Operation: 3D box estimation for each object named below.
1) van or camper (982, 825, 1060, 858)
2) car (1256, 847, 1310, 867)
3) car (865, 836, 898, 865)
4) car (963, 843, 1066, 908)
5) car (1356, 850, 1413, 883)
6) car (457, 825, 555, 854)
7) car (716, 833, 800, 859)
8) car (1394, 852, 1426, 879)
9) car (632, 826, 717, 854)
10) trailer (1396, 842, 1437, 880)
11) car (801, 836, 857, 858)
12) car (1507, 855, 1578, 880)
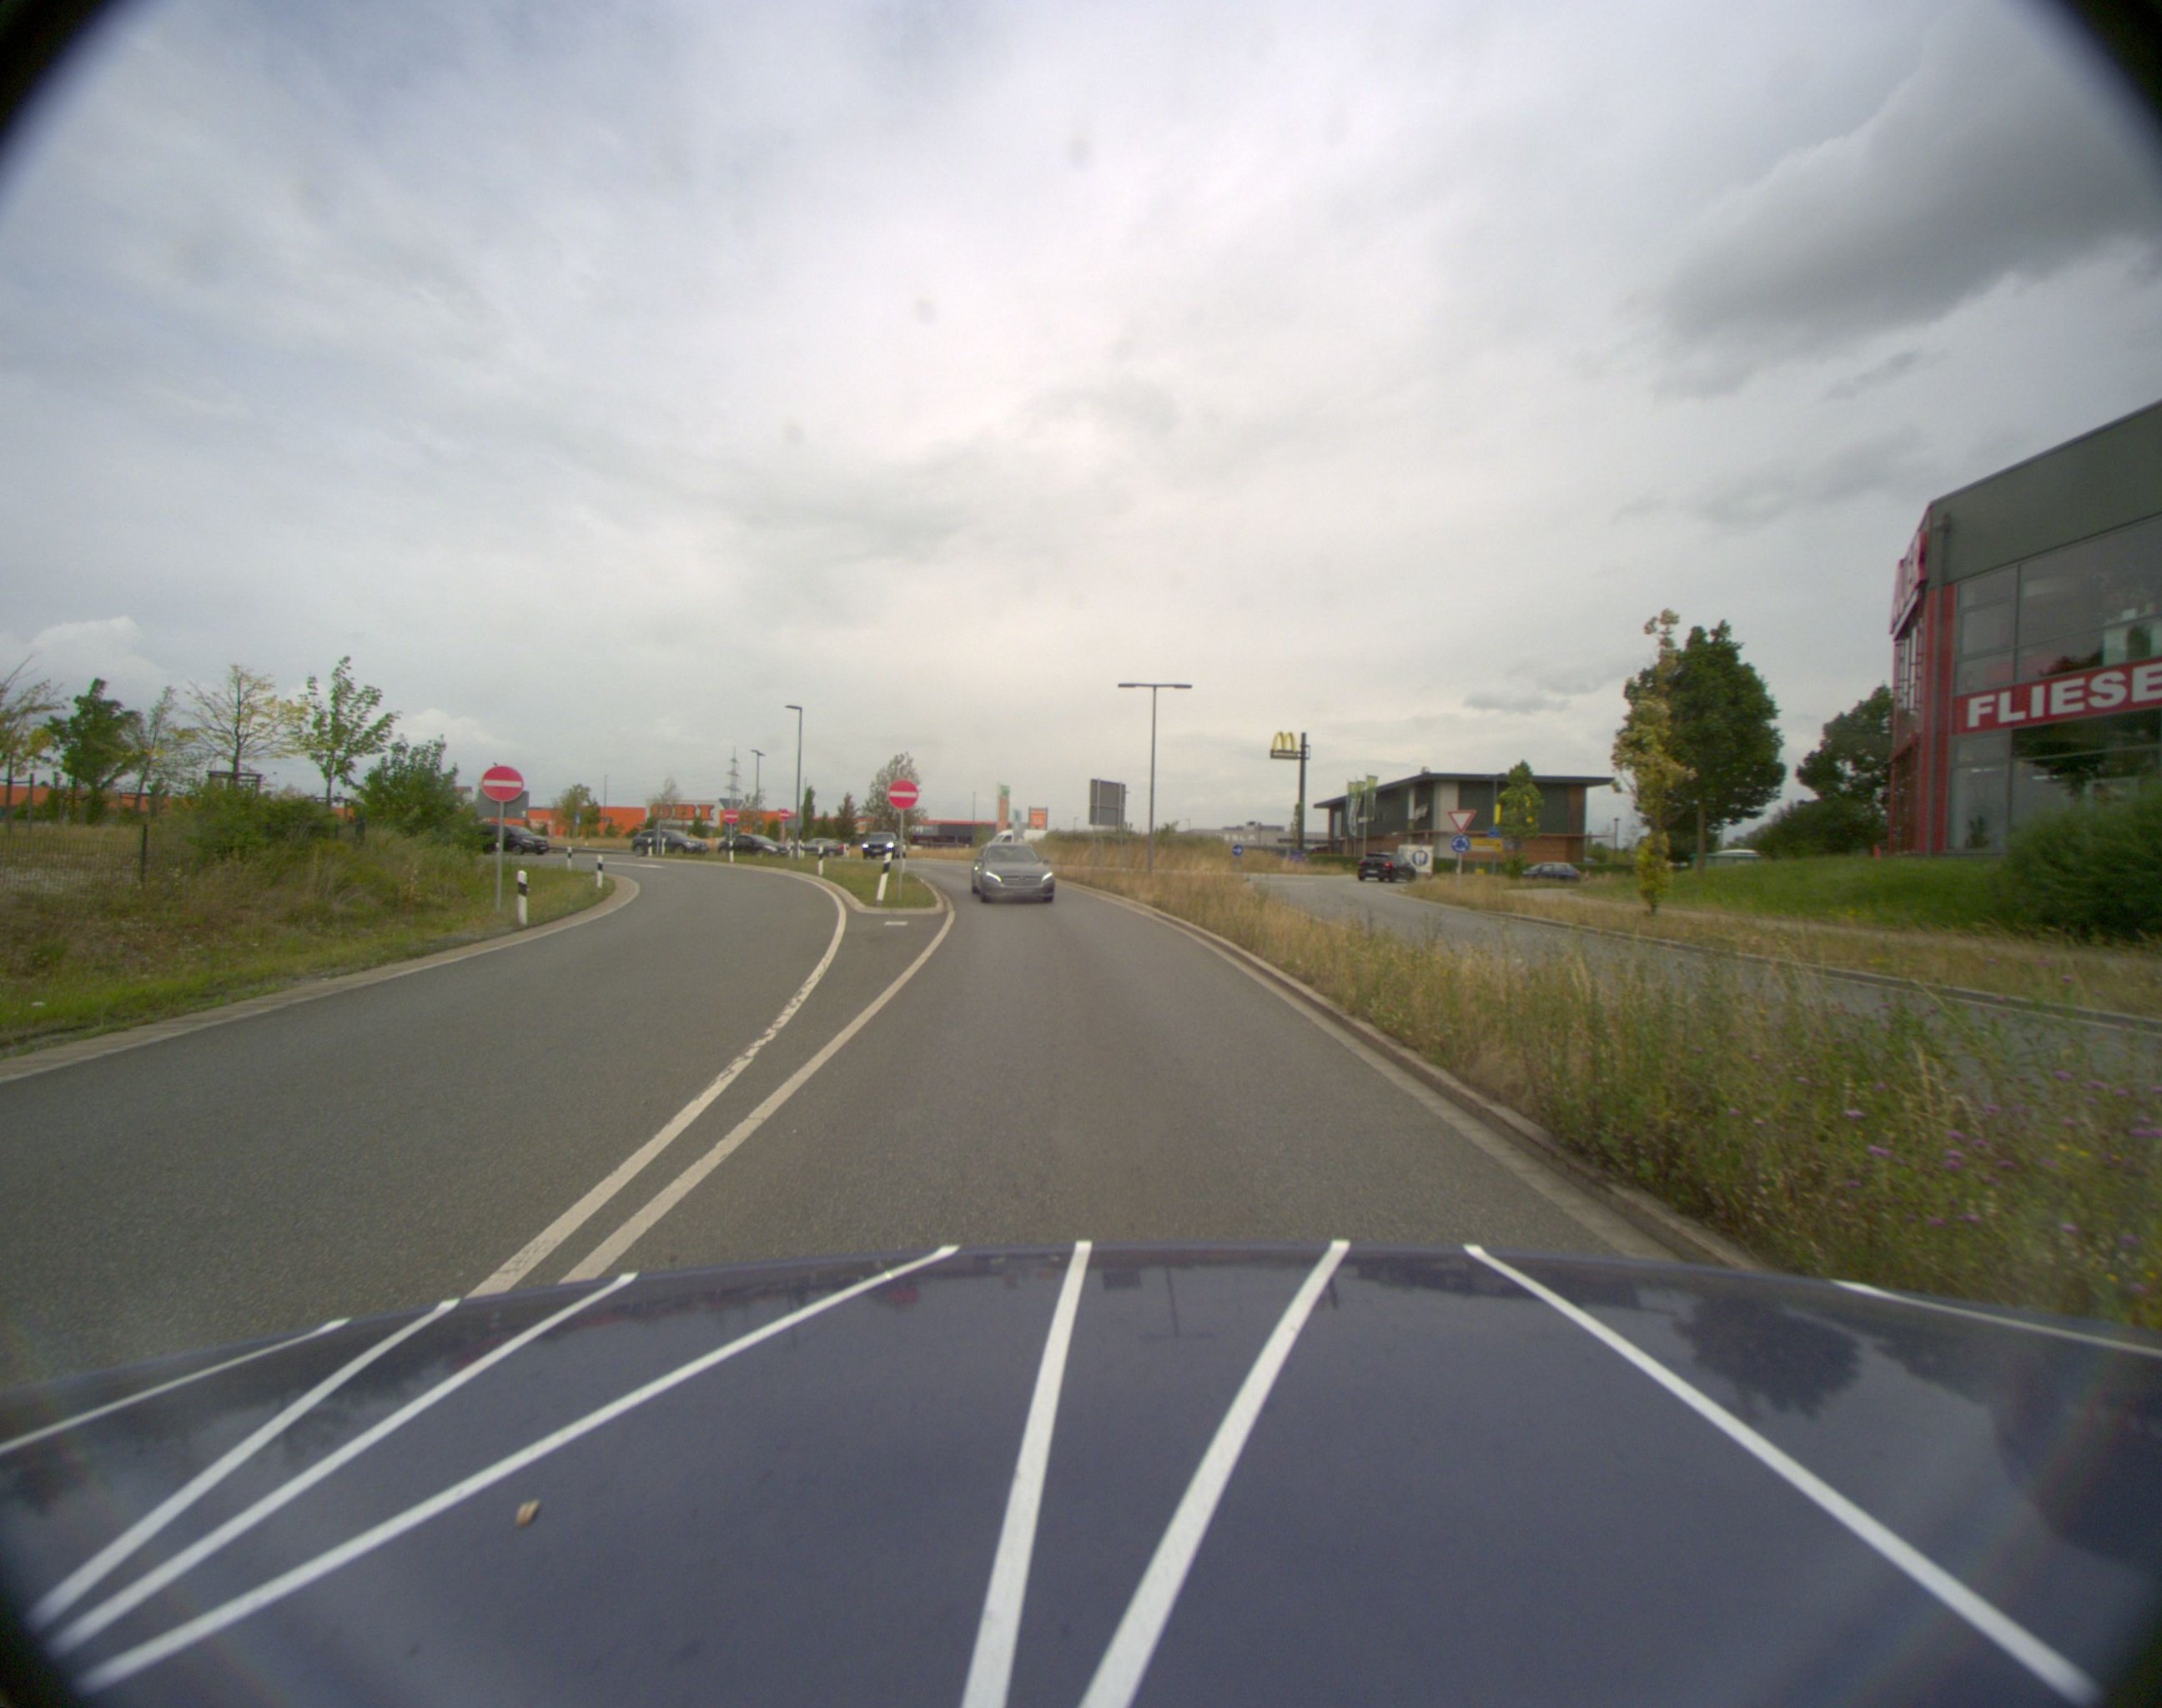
[{"bbox_3d":[-4.923,-1.029,63.126,6.055,2.634,2.328,0,1,-32],"label":"van or camper"},{"bbox_3d":[16.244,0.238,61.227,3.803,1.541,1.766,1,1,34],"label":"car"},{"bbox_3d":[-12.304,-0.177,47.035,1.844,1.709,3.996,-2,0,-14],"label":"car"},{"bbox_3d":[-1.903,0.482,20.296,1.909,1.489,4.331,0,1,-17],"label":"car"},{"bbox_3d":[15.012,0.581,37.487,1.640,1.451,3.776,6,4,36],"label":"car"},{"bbox_3d":[-35.115,-0.882,46.445,4.741,1.711,1.722,1,1,2],"label":"car"},{"bbox_3d":[-18.201,-0.467,42.835,4.136,1.362,1.846,1,1,17],"label":"car"},{"bbox_3d":[21.462,0.757,49.575,1.812,1.660,4.624,2,0,23],"label":"car"},{"bbox_3d":[-24.607,-0.854,46.100,4.270,1.574,1.885,1,1,9],"label":"car"},{"bbox_3d":[20.160,0.408,45.759,1.808,2.079,4.152,3,1,19],"label":"trailer"},{"bbox_3d":[-19.446,-0.562,58.700,4.004,1.648,1.996,0,1,-19],"label":"car"},{"bbox_3d":[32.431,0.938,53.391,4.020,1.649,1.894,0,2,-12],"label":"car"}]
